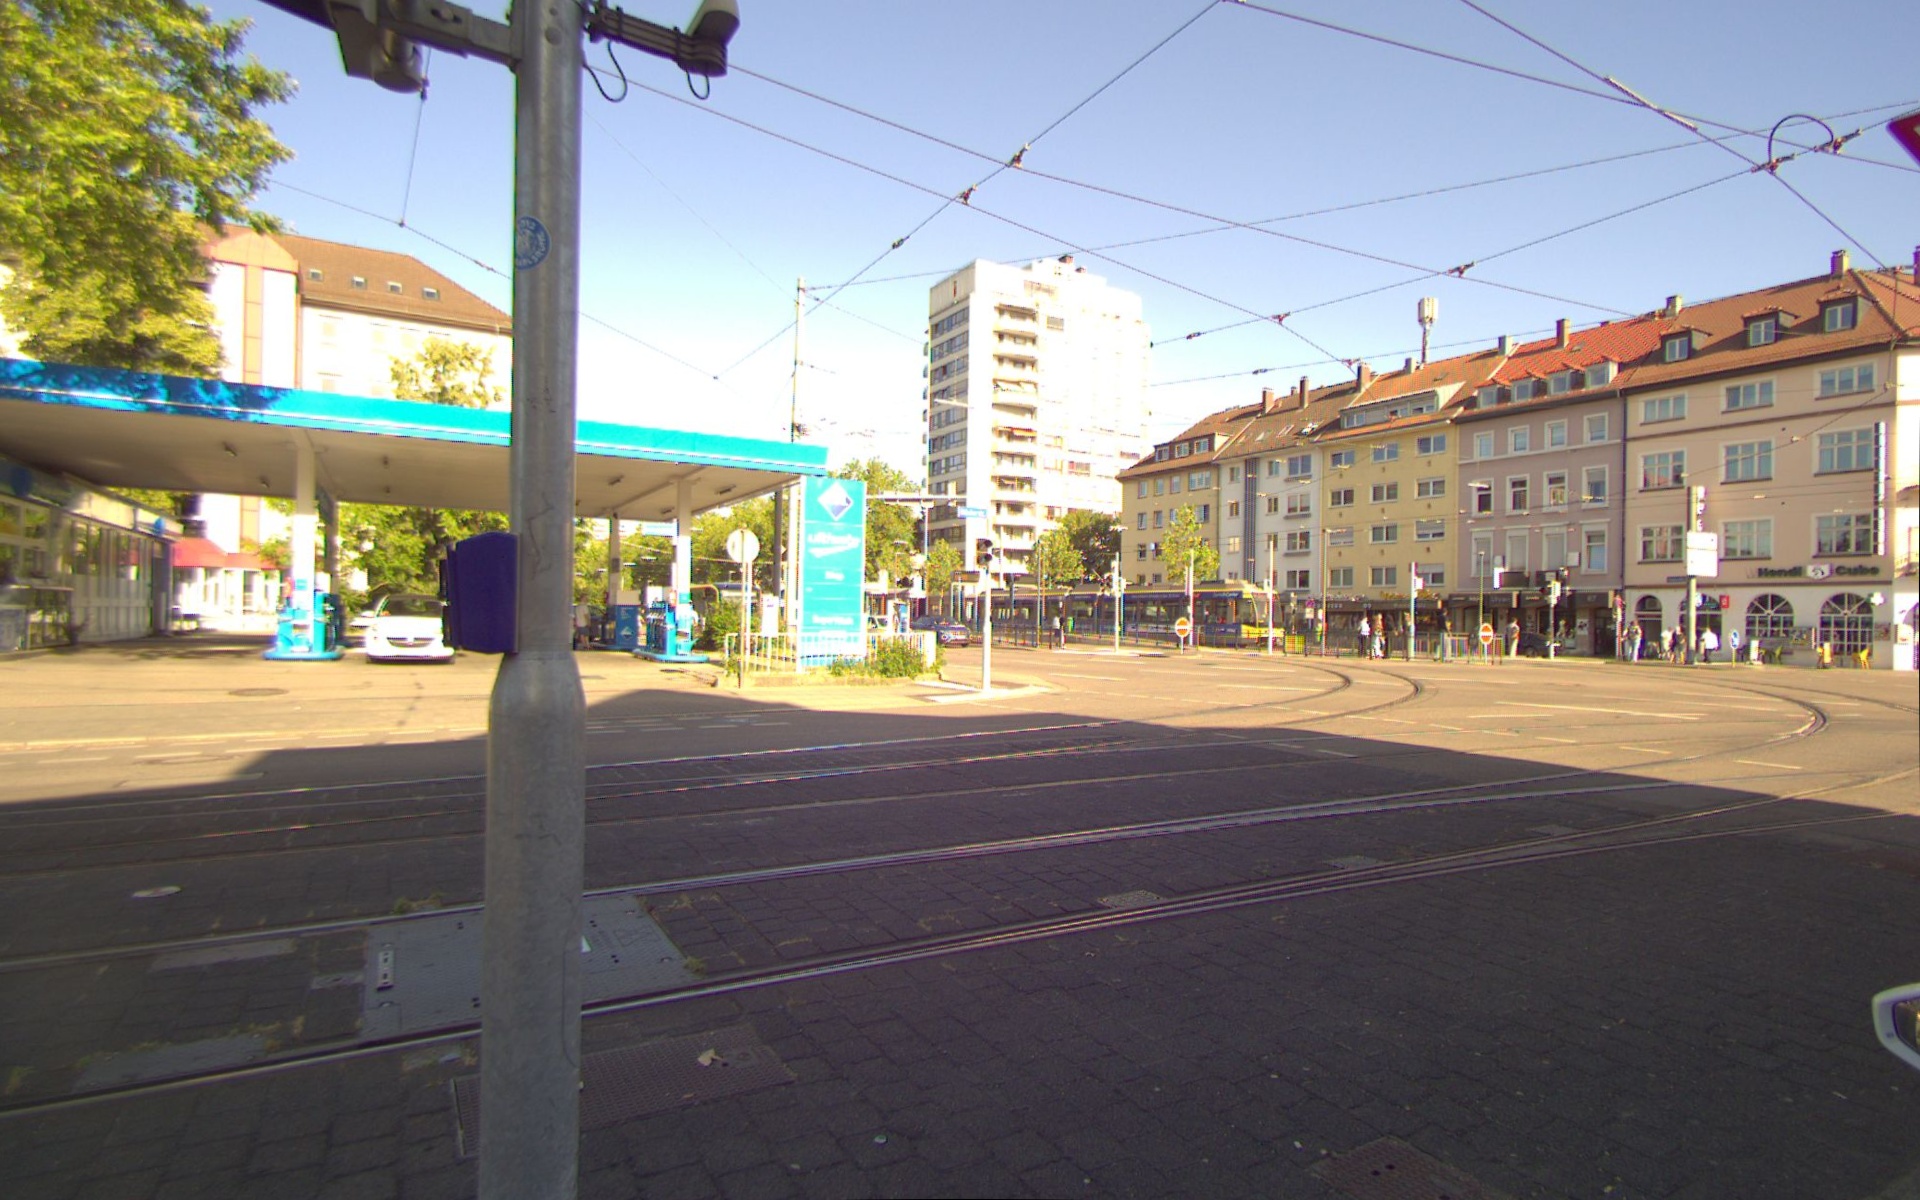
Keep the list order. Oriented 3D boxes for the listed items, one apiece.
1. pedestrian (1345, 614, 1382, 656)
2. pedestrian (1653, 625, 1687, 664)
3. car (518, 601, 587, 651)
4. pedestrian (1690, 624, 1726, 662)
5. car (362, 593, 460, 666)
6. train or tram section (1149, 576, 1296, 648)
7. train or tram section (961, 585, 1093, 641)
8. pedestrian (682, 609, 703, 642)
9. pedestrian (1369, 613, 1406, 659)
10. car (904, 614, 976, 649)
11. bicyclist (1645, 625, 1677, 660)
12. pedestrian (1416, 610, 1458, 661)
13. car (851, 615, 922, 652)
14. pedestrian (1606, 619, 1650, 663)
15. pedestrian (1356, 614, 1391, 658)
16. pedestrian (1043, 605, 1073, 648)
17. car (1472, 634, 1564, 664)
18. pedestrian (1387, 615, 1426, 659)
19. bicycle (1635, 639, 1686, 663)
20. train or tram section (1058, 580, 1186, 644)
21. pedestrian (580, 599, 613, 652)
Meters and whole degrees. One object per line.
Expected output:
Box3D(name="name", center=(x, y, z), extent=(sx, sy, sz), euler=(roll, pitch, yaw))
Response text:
Box3D(name="pedestrian", center=(15.747, 1.352, 39.251), extent=(0.925, 1.619, 1.007), euler=(1, -1, -13))
Box3D(name="pedestrian", center=(34.072, 2.126, 48.203), extent=(0.926, 1.798, 1.006), euler=(1, -1, -15))
Box3D(name="car", center=(-13.450, 0.838, 33.016), extent=(1.725, 1.431, 4.061), euler=(5, -2, -26))
Box3D(name="pedestrian", center=(35.682, 2.038, 47.944), extent=(0.990, 1.798, 0.941), euler=(1, -1, -2))
Box3D(name="car", center=(-12.332, 0.633, 22.527), extent=(1.760, 1.483, 3.968), euler=(1, -1, -30))
Box3D(name="train or tram section", center=(13.809, 0.644, 53.485), extent=(2.792, 3.546, 7.895), euler=(1, -1, -31))
Box3D(name="train or tram section", center=(4.310, 0.905, 69.093), extent=(2.748, 3.546, 11.928), euler=(1, -1, -31))
Box3D(name="pedestrian", center=(-13.385, 1.274, 50.196), extent=(0.907, 1.595, 0.959), euler=(1, -1, -22))
Box3D(name="pedestrian", center=(15.597, 1.301, 36.649), extent=(0.923, 1.619, 1.009), euler=(1, -1, 0))
Box3D(name="car", center=(-1.015, 1.488, 48.228), extent=(1.863, 1.601, 3.971), euler=(1, -1, -28))
Box3D(name="bicyclist", center=(36.420, 2.184, 52.186), extent=(0.740, 1.798, 1.159), euler=(1, -1, -31))
Box3D(name="pedestrian", center=(17.094, 1.257, 35.978), extent=(0.925, 1.798, 1.006), euler=(1, -1, -15))
Box3D(name="car", center=(-3.476, 1.527, 46.738), extent=(1.863, 1.601, 3.971), euler=(1, -1, -28))
Box3D(name="pedestrian", center=(26.647, 1.613, 40.068), extent=(1.091, 1.707, 1.075), euler=(1, -1, -30))
Box3D(name="pedestrian", center=(15.548, 1.338, 37.769), extent=(0.922, 1.619, 1.010), euler=(1, -1, 3))
Box3D(name="pedestrian", center=(4.300, 1.172, 44.249), extent=(1.085, 1.870, 1.169), euler=(1, -1, -5))
Box3D(name="car", center=(30.429, 2.635, 54.907), extent=(1.977, 1.472, 3.966), euler=(1, -1, -31))
Box3D(name="pedestrian", center=(16.608, 1.369, 37.359), extent=(0.924, 1.619, 1.008), euler=(1, -1, -9))
Box3D(name="bicycle", center=(36.282, 2.624, 52.045), extent=(0.623, 1.197, 2.081), euler=(1, -1, -29))
Box3D(name="train or tram section", center=(9.566, 0.727, 60.463), extent=(2.792, 3.546, 8.388), euler=(1, -1, -32))
Box3D(name="pedestrian", center=(-11.690, 0.818, 32.273), extent=(0.803, 1.647, 1.155), euler=(1, -1, -30))
